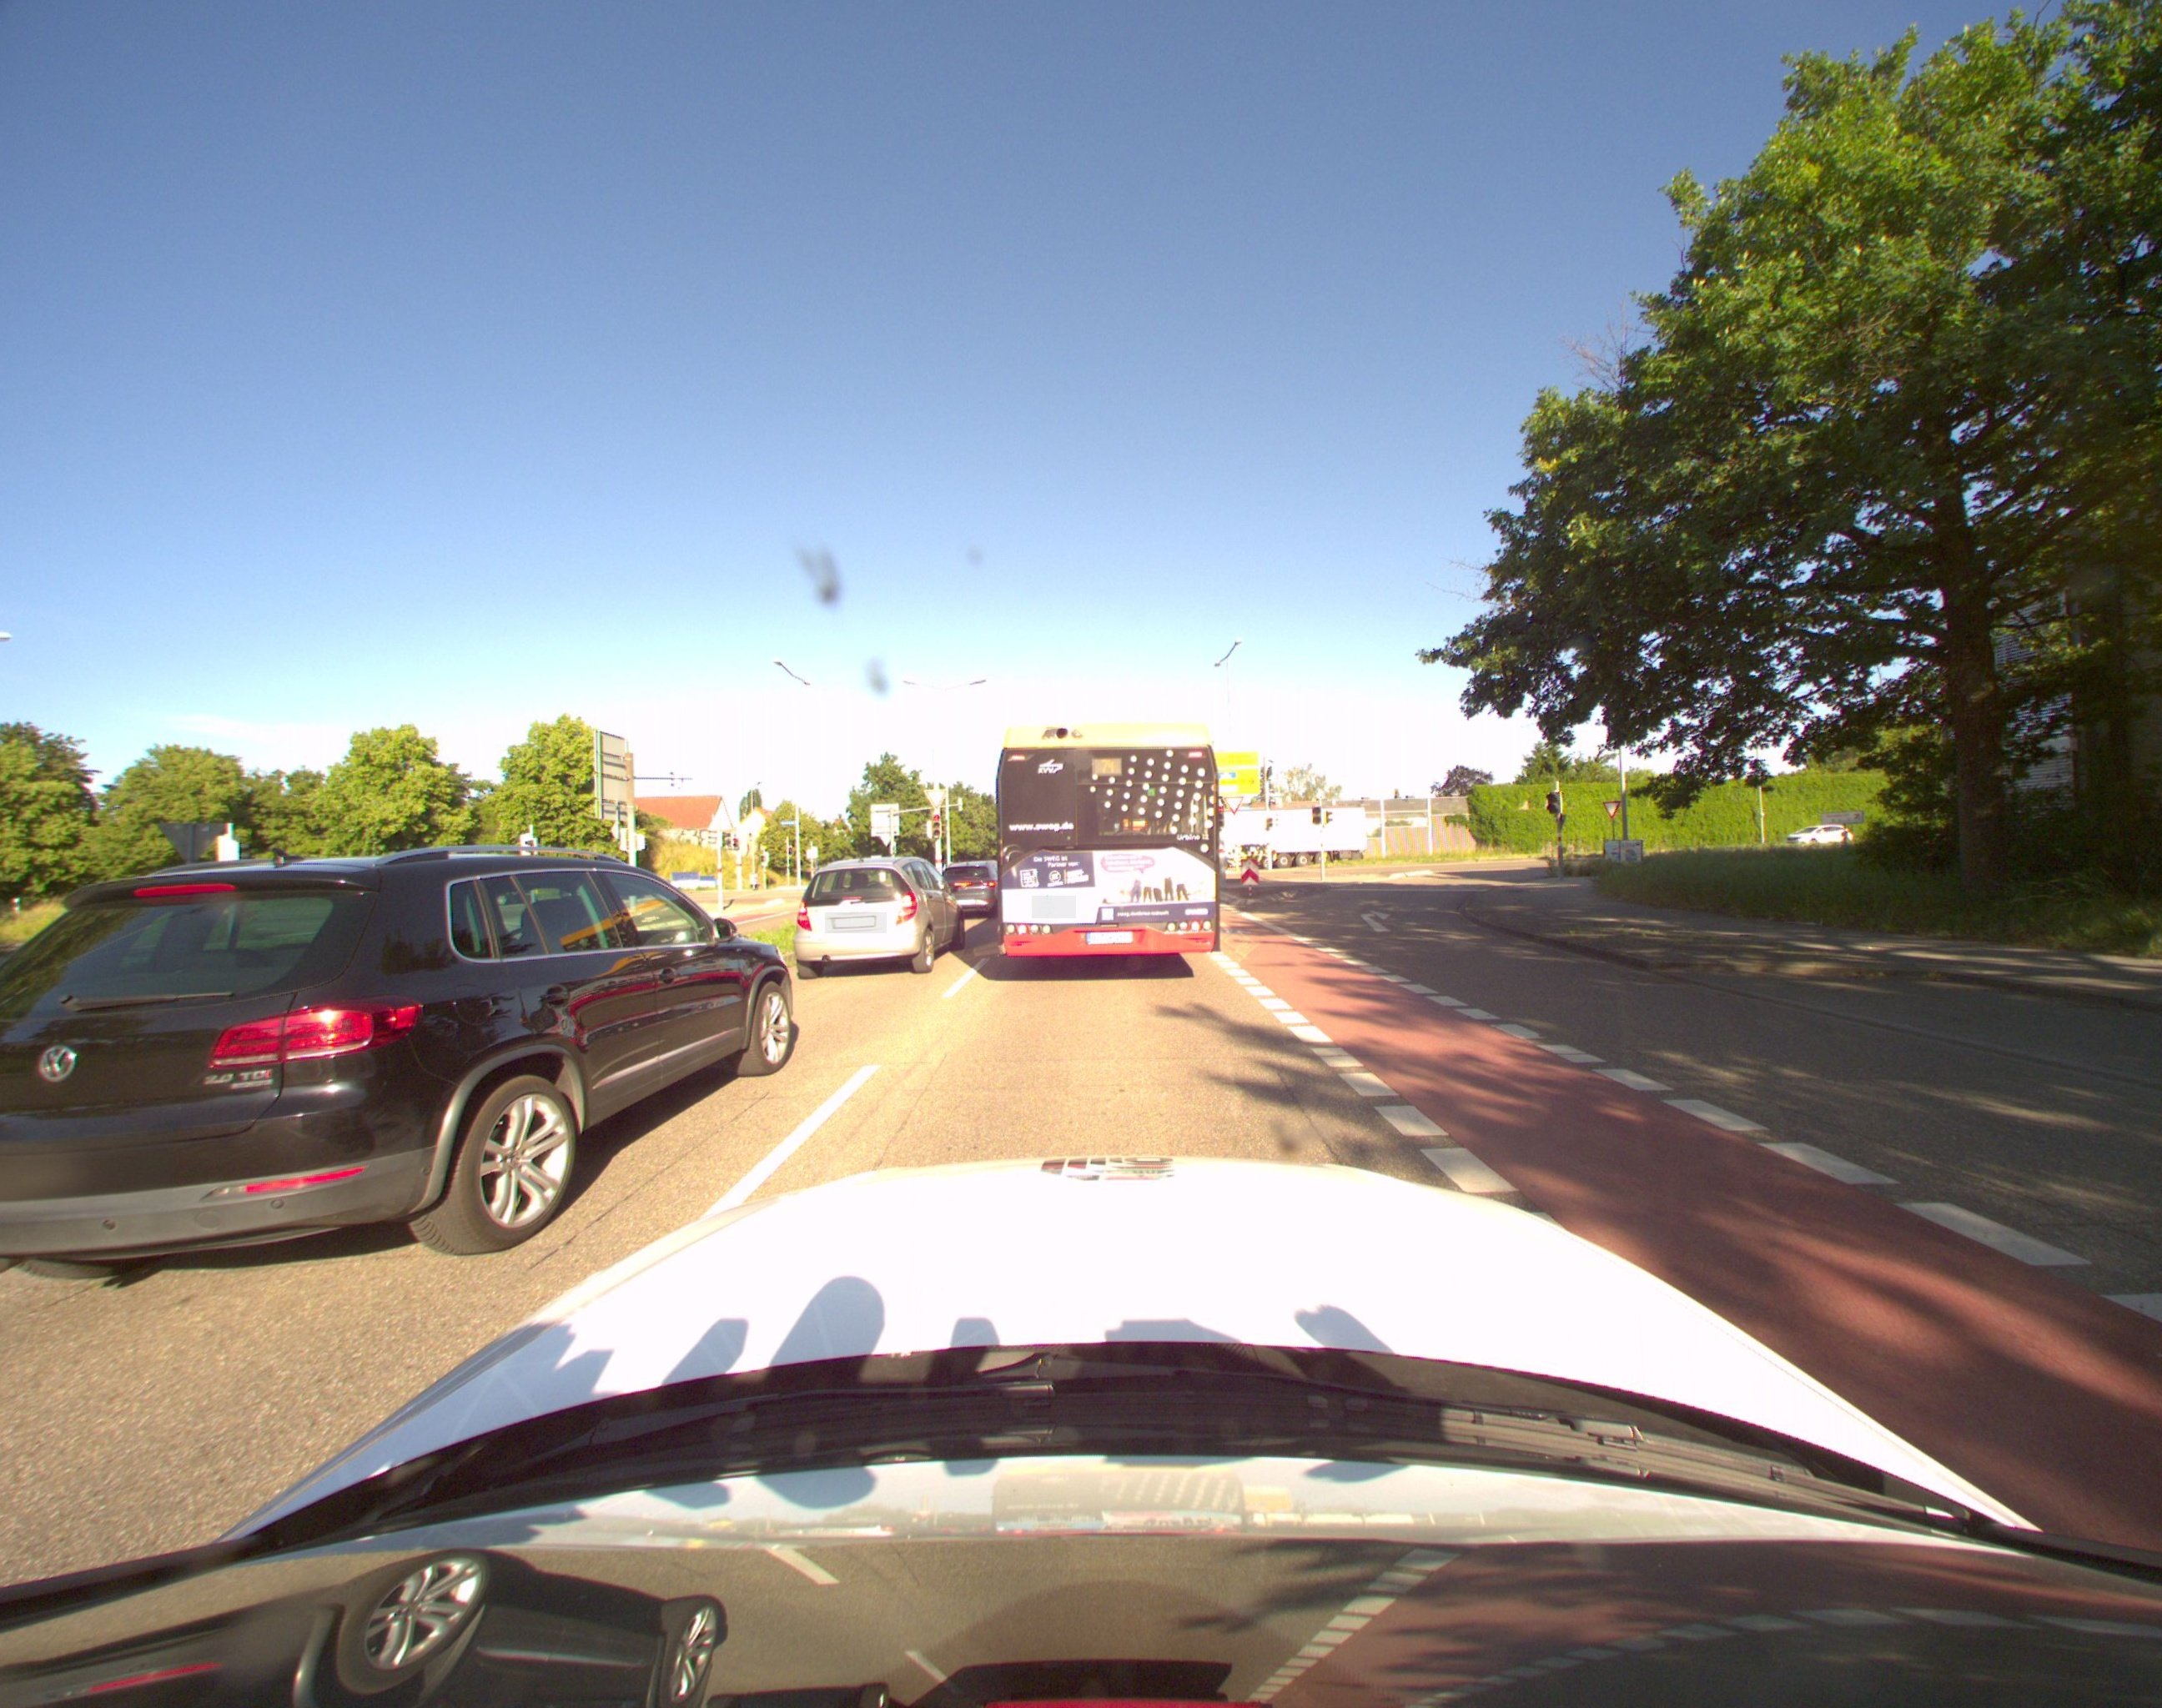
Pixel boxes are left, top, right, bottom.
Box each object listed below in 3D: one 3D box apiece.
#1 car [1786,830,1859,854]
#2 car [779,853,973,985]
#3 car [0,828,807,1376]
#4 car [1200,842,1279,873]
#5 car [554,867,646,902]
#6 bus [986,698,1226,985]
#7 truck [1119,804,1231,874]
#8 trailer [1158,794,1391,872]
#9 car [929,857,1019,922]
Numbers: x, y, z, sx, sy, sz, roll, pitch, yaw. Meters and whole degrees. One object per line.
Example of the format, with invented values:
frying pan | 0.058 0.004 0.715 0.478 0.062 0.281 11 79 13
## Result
car | 52.444 -0.844 57.622 3.800 1.612 1.704 0 -1 -5
car | -2.879 0.824 12.383 1.755 1.589 4.001 -3 0 1
car | -3.176 0.799 4.557 1.766 1.653 4.001 -3 0 1
car | 9.153 0.180 47.167 4.062 1.526 1.765 -3 0 -6
car | -24.574 1.538 41.676 3.577 1.560 1.747 -2 0 -5
bus | 0.519 -0.164 15.021 2.632 3.167 11.867 -1 0 2
truck | 6.101 -0.951 53.691 6.468 4.012 3.433 -4 0 -6
trailer | 12.806 -1.380 54.437 14.638 4.012 3.433 -4 0 -6
car | -2.693 0.857 21.317 1.686 1.458 3.751 -3 0 1
